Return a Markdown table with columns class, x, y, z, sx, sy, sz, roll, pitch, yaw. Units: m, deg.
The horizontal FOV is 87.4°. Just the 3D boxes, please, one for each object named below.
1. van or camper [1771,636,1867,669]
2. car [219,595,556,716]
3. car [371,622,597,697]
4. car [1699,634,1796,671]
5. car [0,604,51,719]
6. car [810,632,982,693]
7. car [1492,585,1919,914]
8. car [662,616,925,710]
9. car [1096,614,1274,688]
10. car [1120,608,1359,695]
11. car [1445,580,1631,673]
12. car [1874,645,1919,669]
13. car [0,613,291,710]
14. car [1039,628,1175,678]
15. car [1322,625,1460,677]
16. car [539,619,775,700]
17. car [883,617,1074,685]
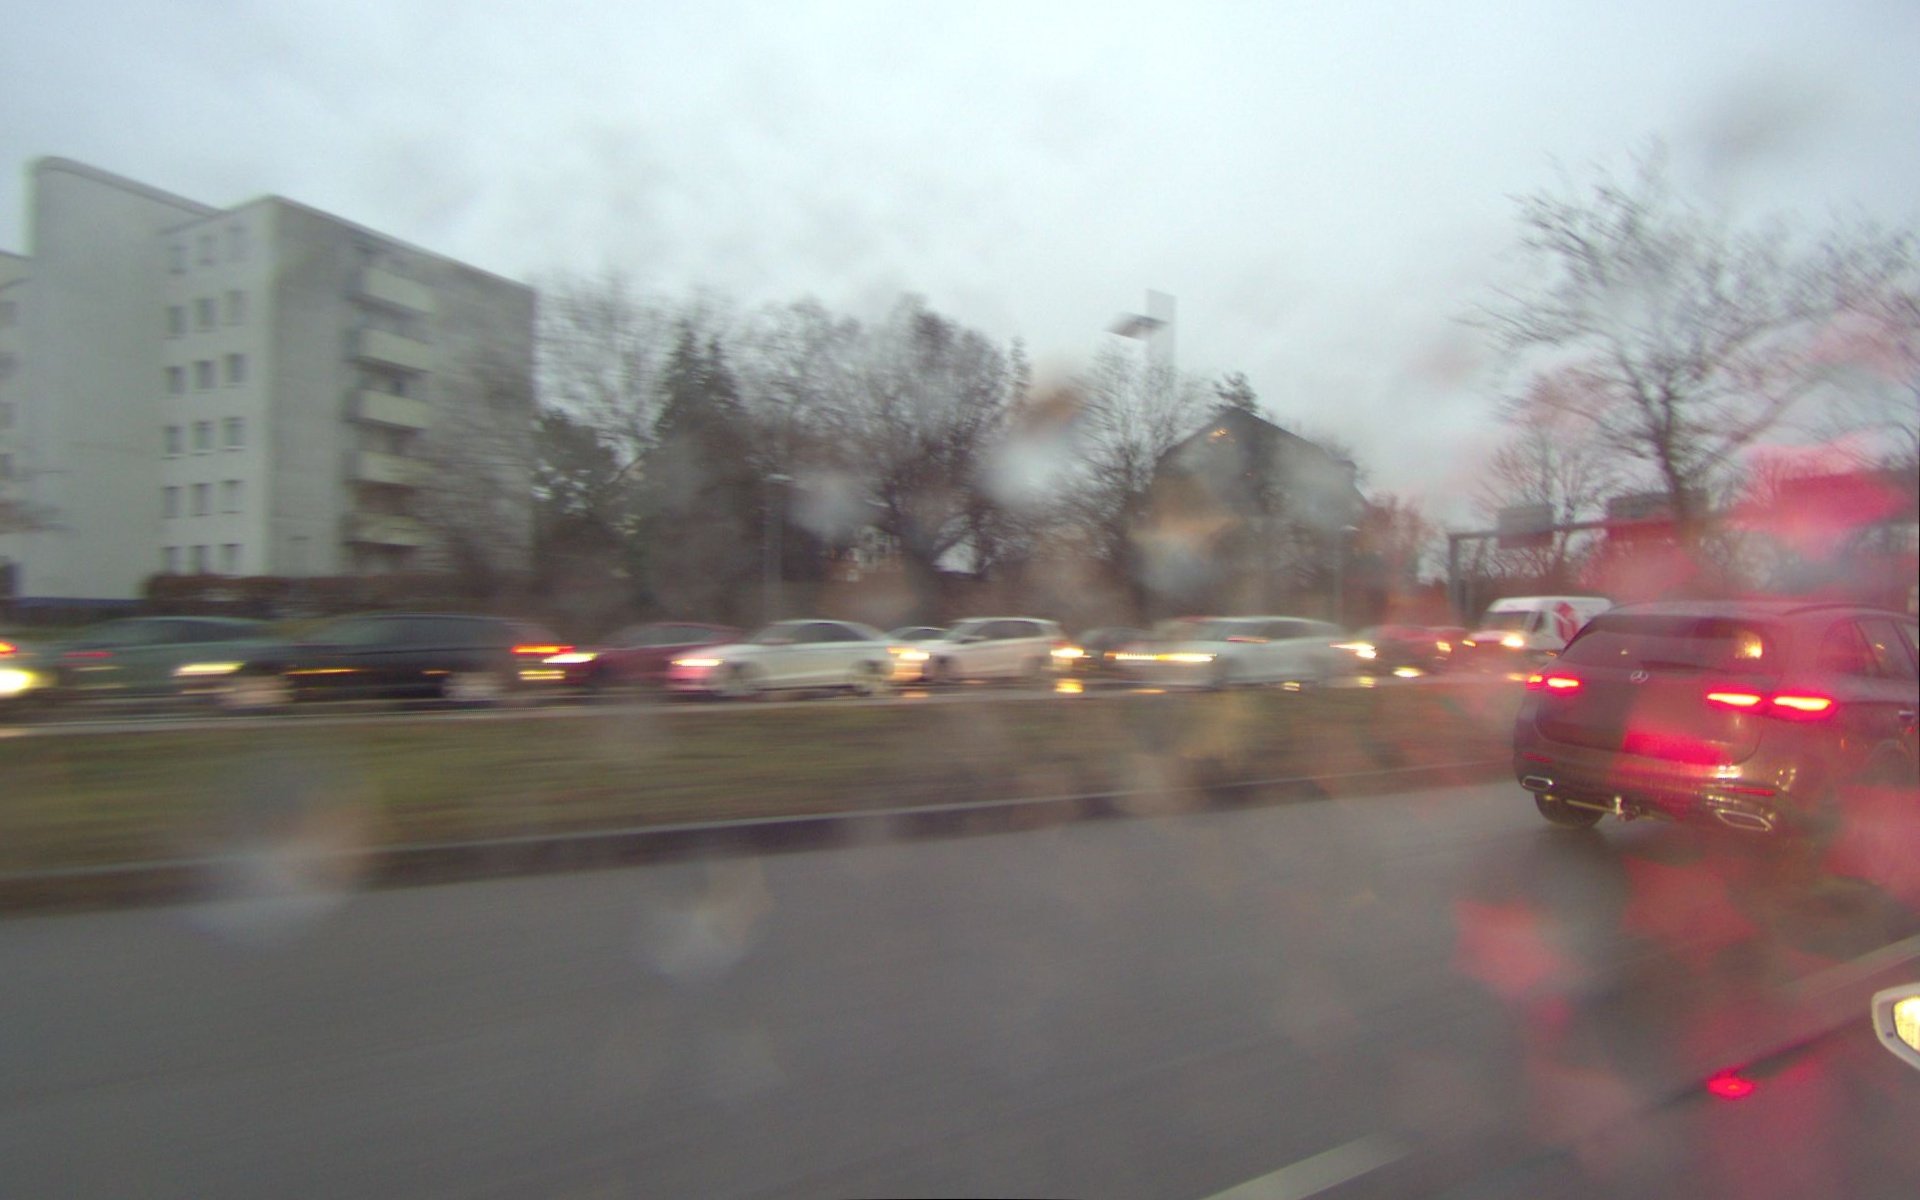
| class | x | y | z | sx | sy | sz | roll | pitch | yaw |
| --- | --- | --- | --- | --- | --- | --- | --- | --- | --- |
| van or camper | 40.898 | 2.492 | 47.804 | 5.097 | 1.466 | 1.895 | 2 | -1 | -30 |
| car | -8.602 | 0.804 | 15.417 | 4.237 | 1.620 | 1.848 | 1 | -1 | -31 |
| car | -10.521 | 1.267 | 22.305 | 4.388 | 1.515 | 1.761 | 1 | -1 | -31 |
| car | 34.782 | 2.310 | 44.353 | 4.390 | 1.466 | 1.895 | 2 | -1 | -30 |
| car | -13.747 | 0.755 | 12.506 | 3.287 | 1.439 | 1.644 | 1 | -1 | -31 |
| car | -1.714 | 1.662 | 27.452 | 4.388 | 1.515 | 1.761 | 1 | -1 | -31 |
| car | 5.902 | 0.828 | 6.994 | 4.413 | 1.669 | 1.814 | 2 | -1 | -29 |
| car | -3.023 | 1.101 | 18.544 | 4.473 | 1.553 | 1.761 | 1 | -1 | -31 |
| car | 5.301 | 1.167 | 23.575 | 3.986 | 1.607 | 1.761 | 1 | -1 | -31 |
| car | 5.595 | 0.981 | 19.909 | 4.784 | 1.557 | 1.761 | 1 | -1 | -31 |
| car | 20.805 | 0.984 | 36.027 | 7.257 | 3.044 | 2.282 | 2 | 0 | -29 |
| car | 65.206 | 3.936 | 69.316 | 4.022 | 1.497 | 1.985 | 2 | 0 | -29 |
| car | -13.383 | 0.967 | 16.491 | 3.864 | 1.446 | 1.613 | 1 | -1 | -31 |
| car | 4.574 | 1.622 | 31.060 | 3.954 | 1.416 | 1.747 | 2 | -2 | -31 |
| car | 13.811 | 1.616 | 32.137 | 4.391 | 1.557 | 1.762 | 1 | -1 | -29 |
| car | -6.213 | 1.182 | 20.753 | 4.388 | 1.515 | 1.761 | 1 | -1 | -31 |
| car | 0.478 | 1.208 | 24.409 | 4.388 | 1.515 | 1.761 | 1 | -1 | -31 |
